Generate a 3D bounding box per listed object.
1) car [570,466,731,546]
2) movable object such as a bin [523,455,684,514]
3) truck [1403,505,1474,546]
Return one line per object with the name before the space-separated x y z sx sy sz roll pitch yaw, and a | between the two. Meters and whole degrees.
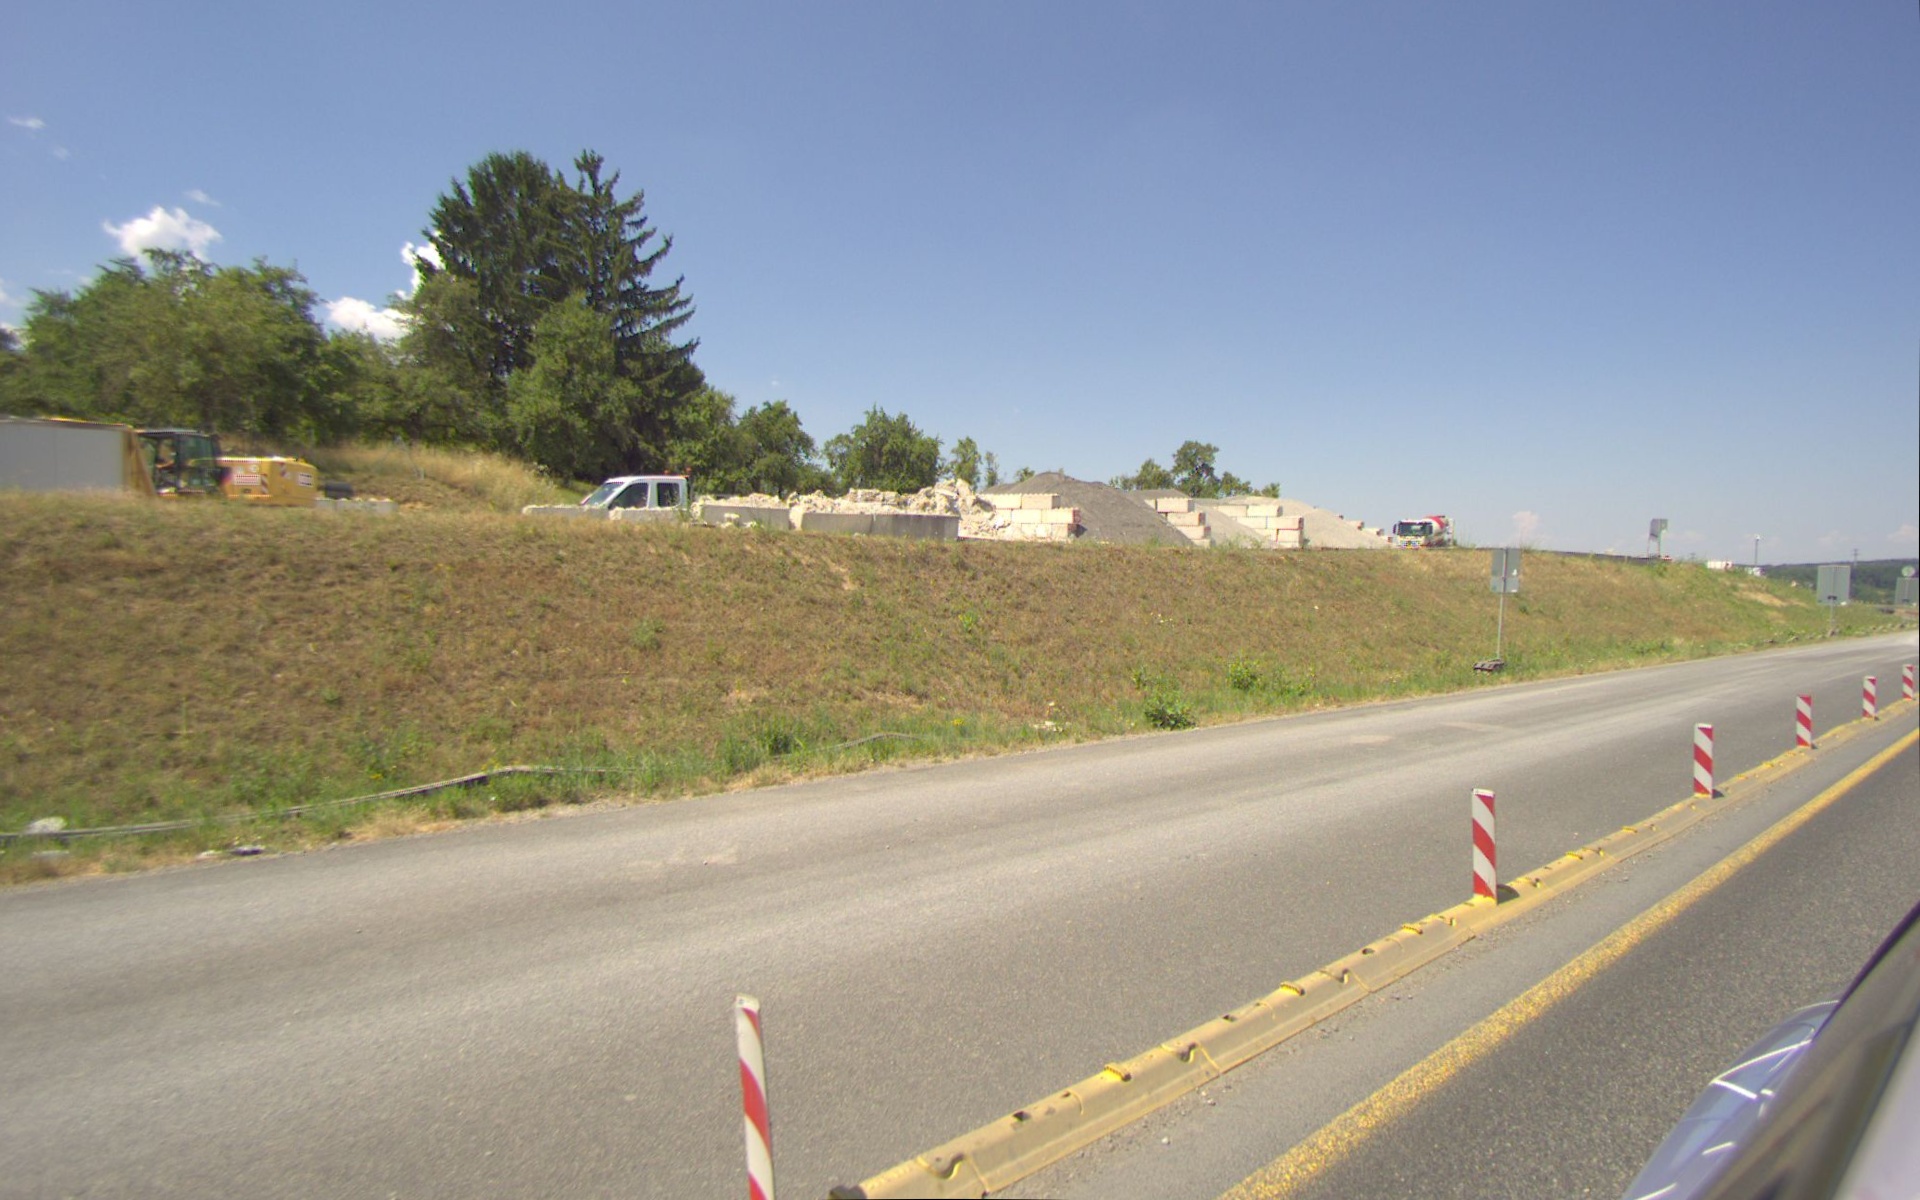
car | -8.076 -2.381 26.480 3.539 1.785 1.989 -1 0 -41
movable object such as a bin | -5.485 -1.753 15.650 2.210 0.690 0.837 -1 0 -41
truck | 38.760 -5.930 81.812 8.915 2.855 2.218 -1 0 -44
